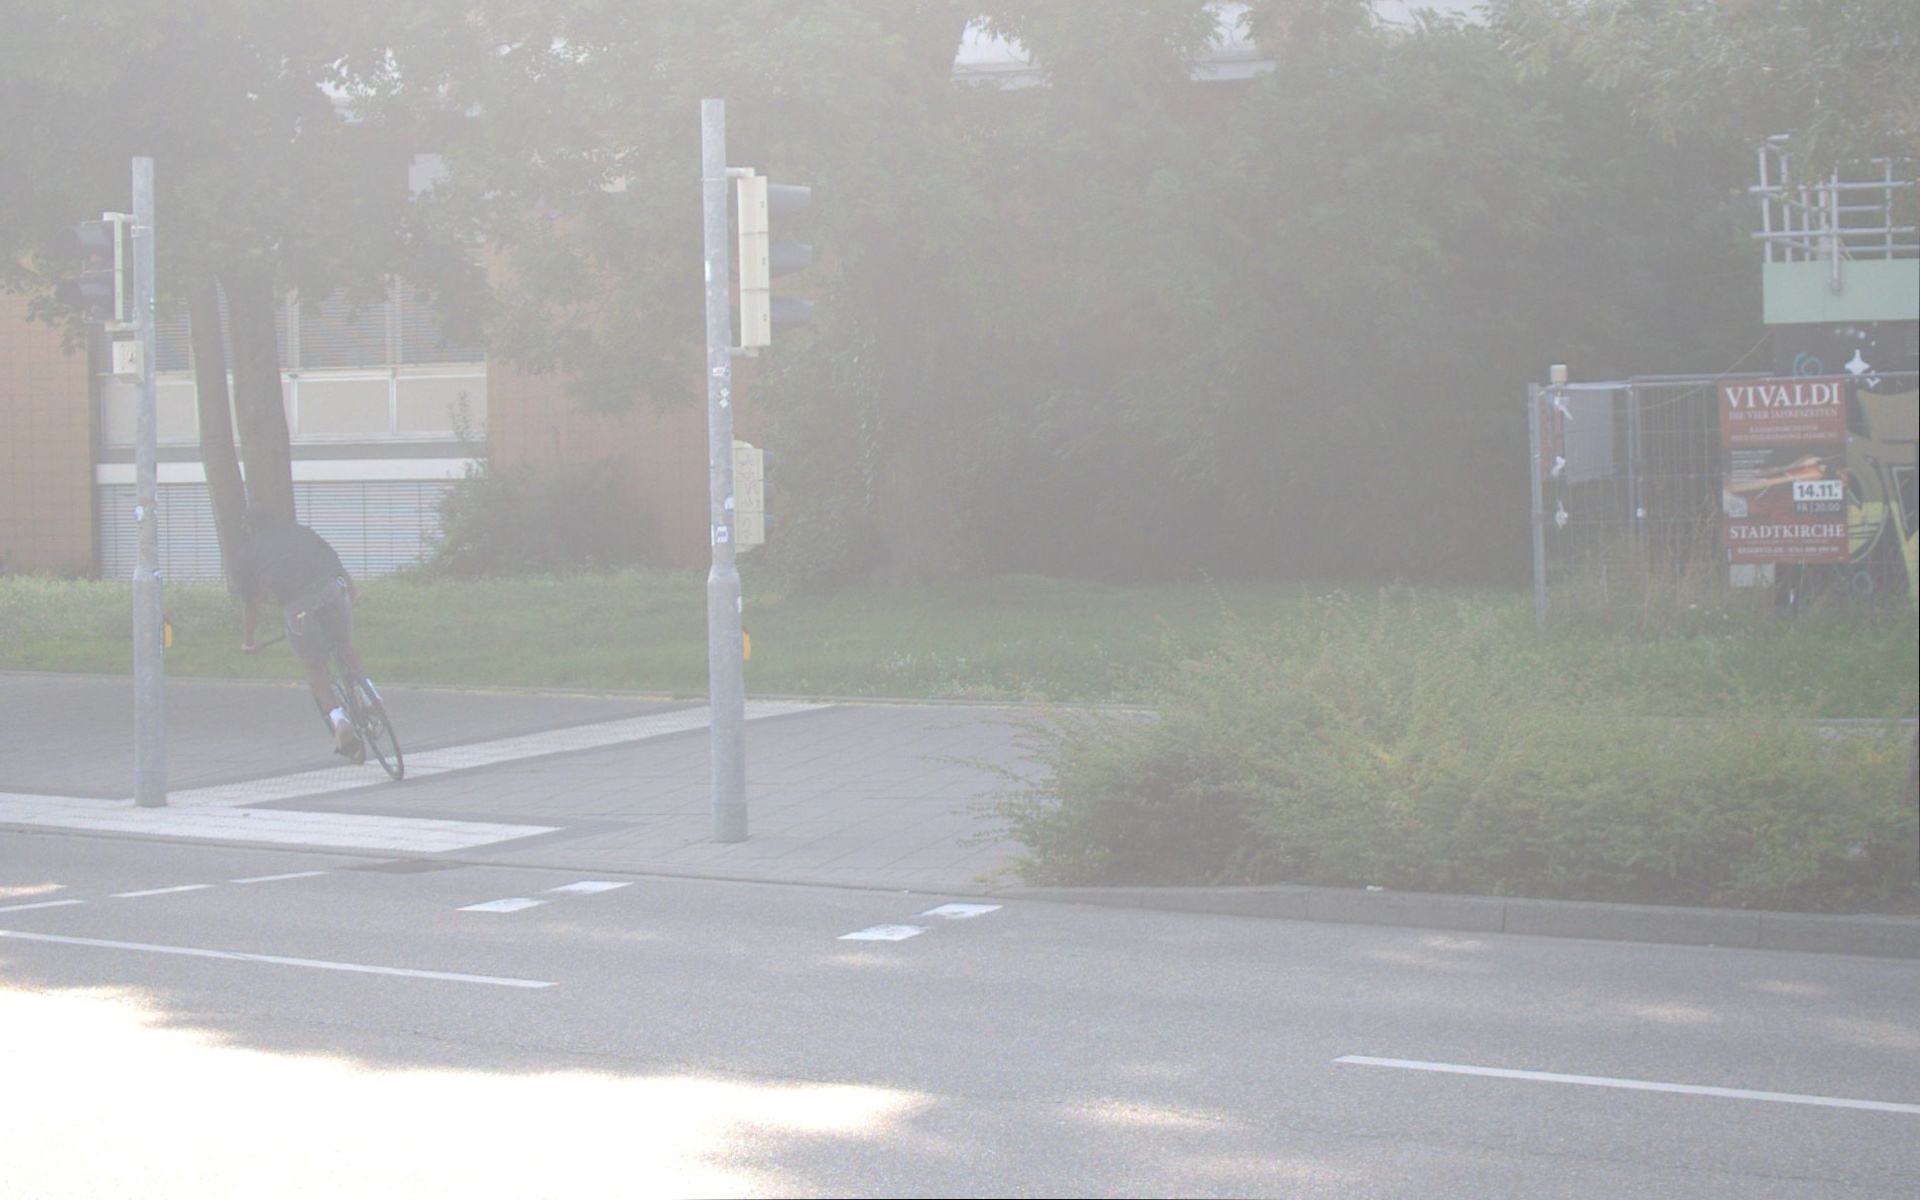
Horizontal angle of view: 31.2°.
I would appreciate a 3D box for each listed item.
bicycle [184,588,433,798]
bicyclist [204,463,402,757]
[{"bbox_3d":[-3.790,0.503,19.868,0.772,0.972,2.151,-5,6,-27],"label":"bicycle"},{"bbox_3d":[-3.783,0.034,19.752,0.772,1.573,0.991,-5,5,-27],"label":"bicyclist"}]
